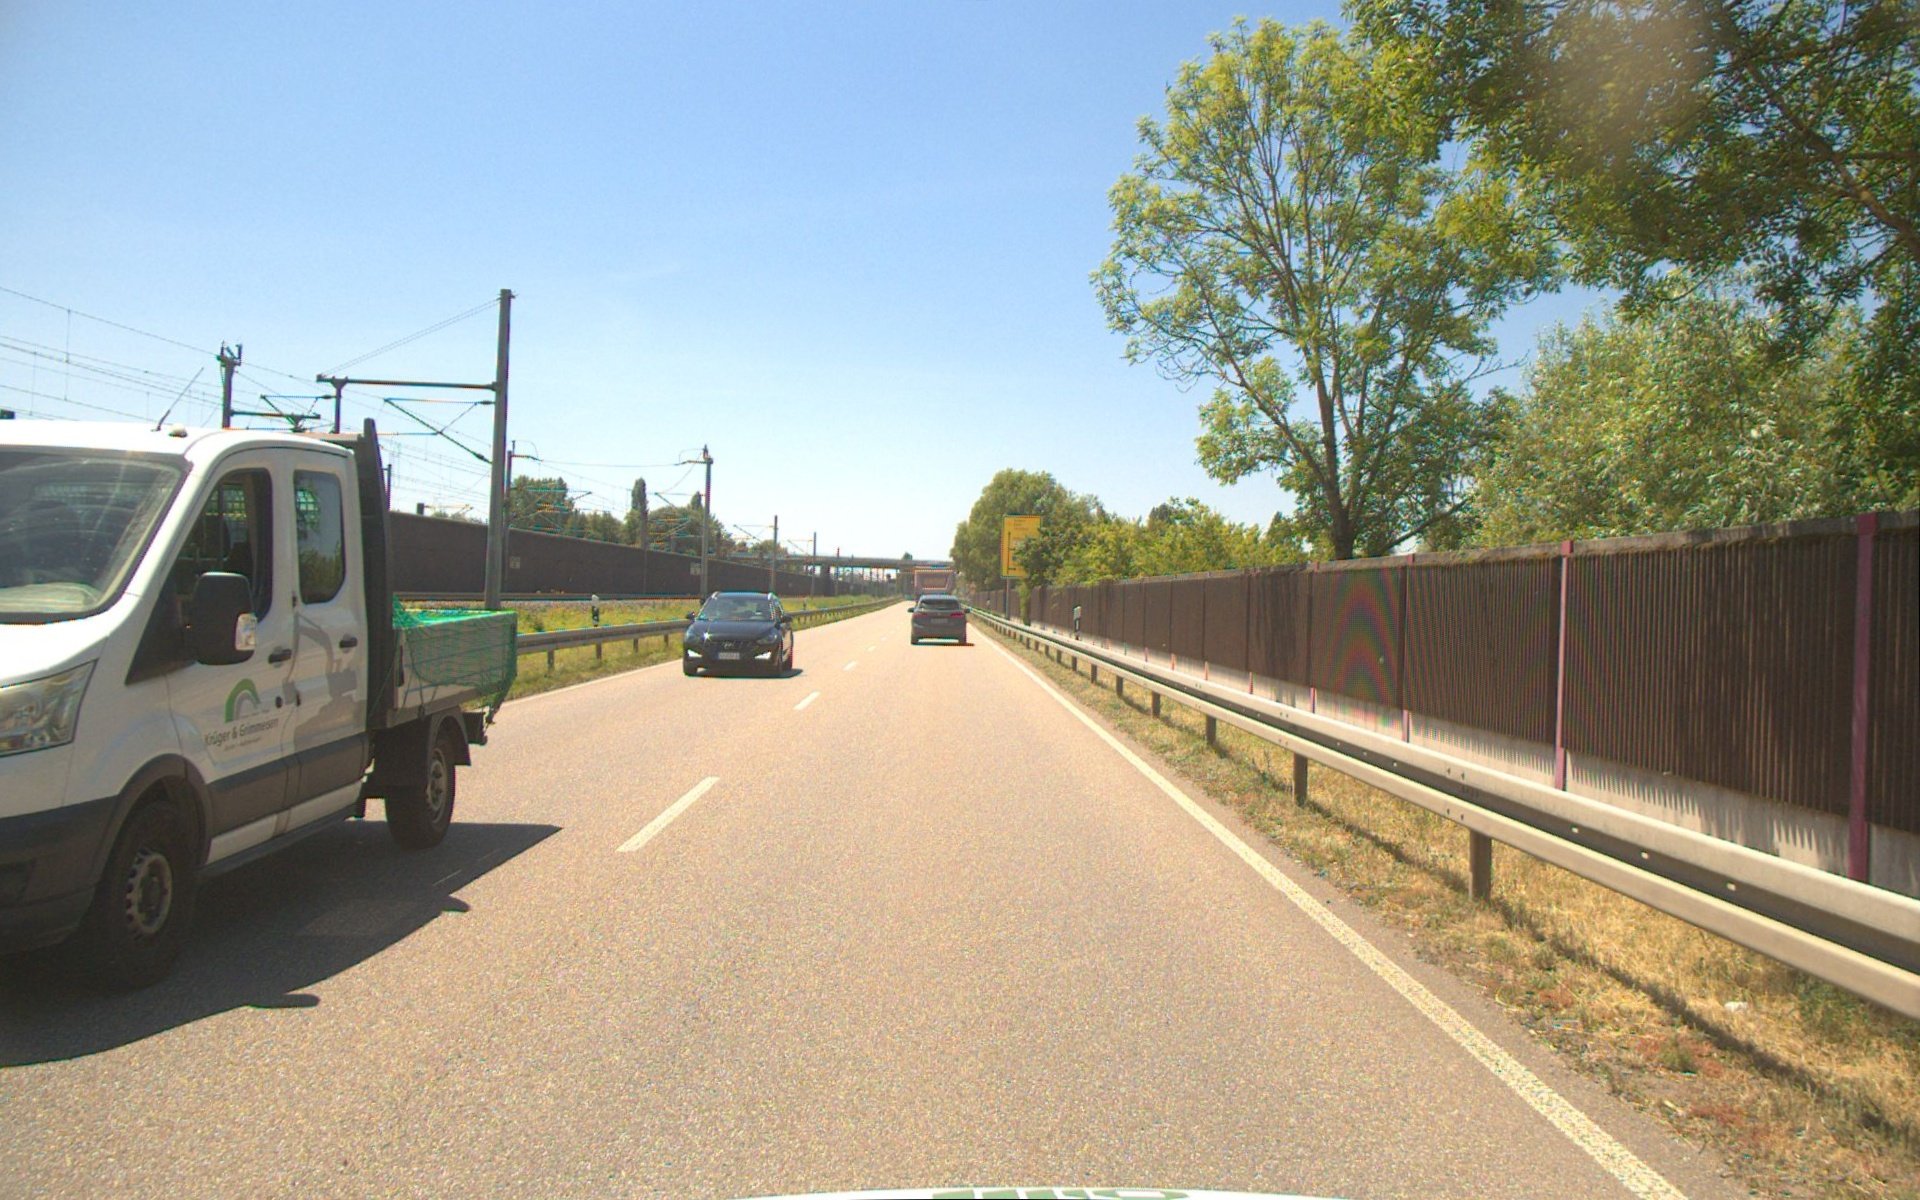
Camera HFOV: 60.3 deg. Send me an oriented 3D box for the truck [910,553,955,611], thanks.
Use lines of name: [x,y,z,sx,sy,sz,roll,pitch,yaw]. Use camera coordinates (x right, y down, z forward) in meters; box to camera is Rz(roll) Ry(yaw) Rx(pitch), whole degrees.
truck: [-1.765,-1.096,106.157,2.714,3.485,10.817,1,0,-1]

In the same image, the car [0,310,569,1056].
car: [-3.837,0.236,8.285,2.215,2.327,6.235,1,0,0]

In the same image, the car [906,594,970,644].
car: [-0.747,0.585,53.627,1.954,1.534,3.998,0,0,-3]

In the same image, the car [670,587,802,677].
car: [-4.106,0.555,30.978,1.935,1.534,4.162,1,0,-1]
